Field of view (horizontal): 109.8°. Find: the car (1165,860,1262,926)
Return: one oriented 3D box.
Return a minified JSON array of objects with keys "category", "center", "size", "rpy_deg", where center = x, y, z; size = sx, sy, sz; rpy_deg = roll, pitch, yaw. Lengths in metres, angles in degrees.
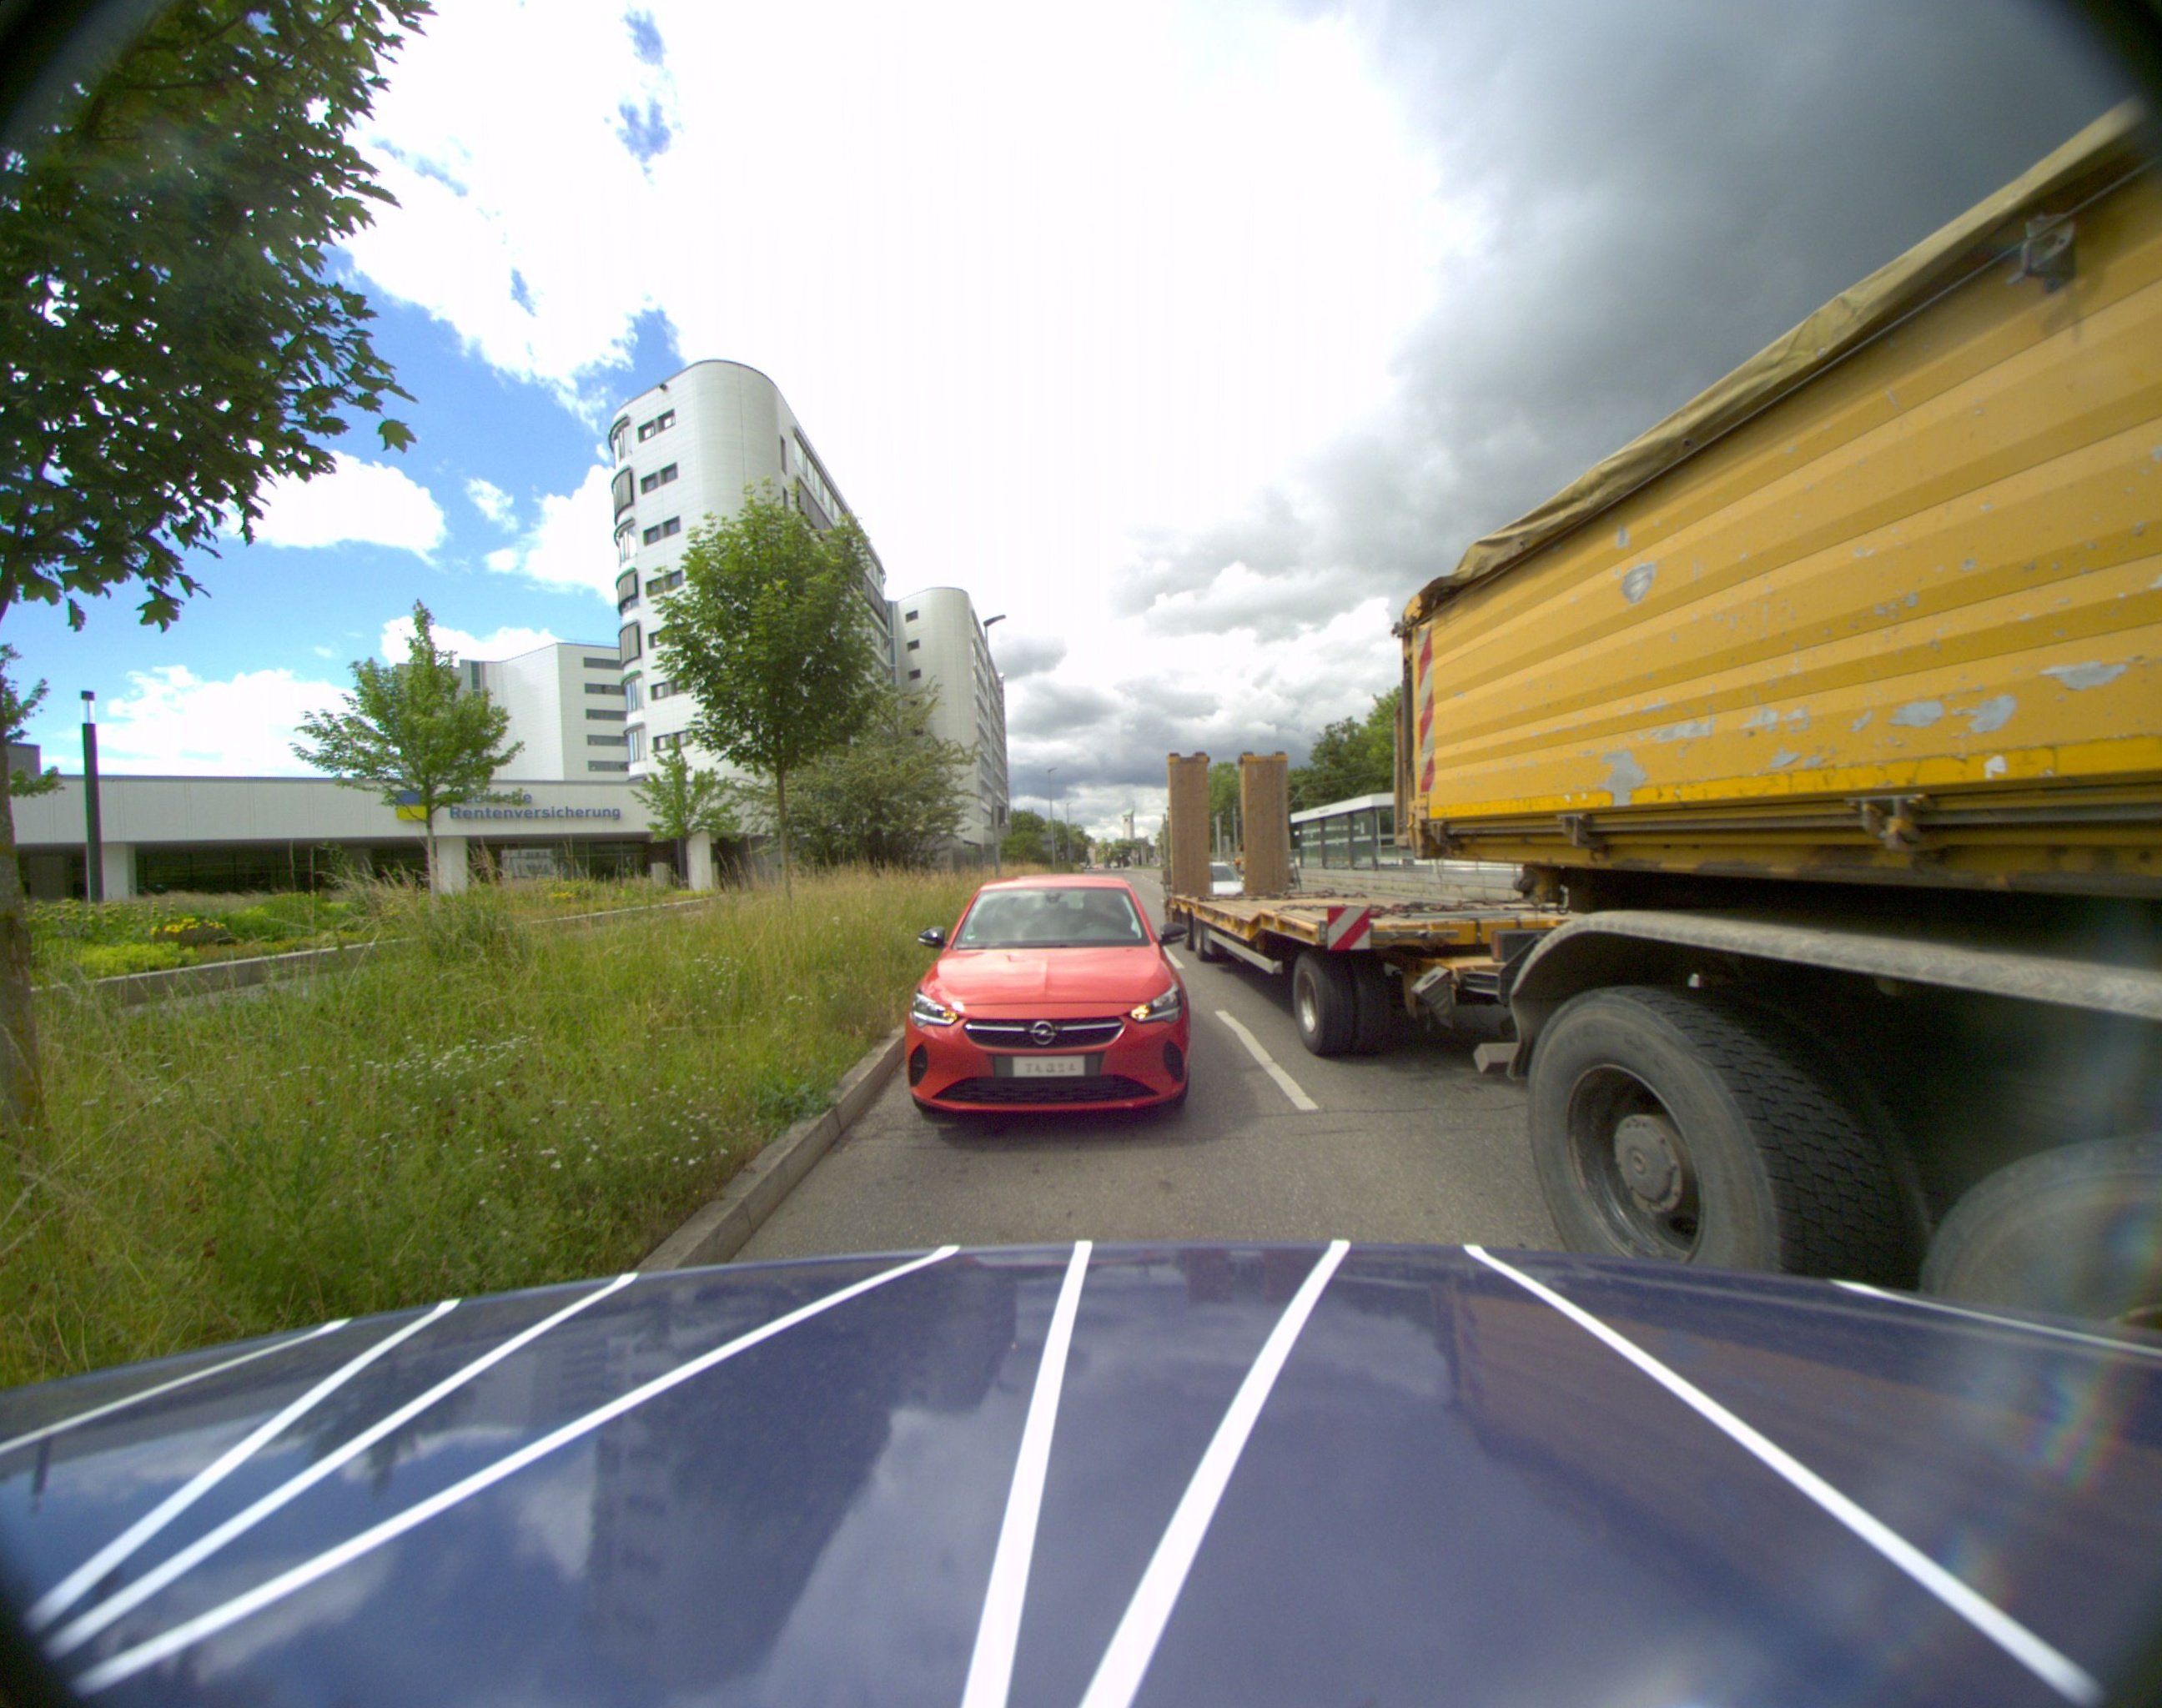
[{"category":"car","center":[3.190,0.887,19.010],"size":[1.784,1.408,3.785],"rpy_deg":[-2,0,1]}]

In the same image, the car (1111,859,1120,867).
[{"category":"car","center":[8.779,2.302,192.443],"size":[1.998,1.805,4.000],"rpy_deg":[-2,0,1]}]

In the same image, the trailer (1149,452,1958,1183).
[{"category":"trailer","center":[2.953,-0.162,9.413],"size":[3.057,3.676,10.965],"rpy_deg":[-2,0,0]}]

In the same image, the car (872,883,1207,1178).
[{"category":"car","center":[-0.187,1.001,5.844],"size":[1.749,1.408,3.676],"rpy_deg":[-1,0,1]}]

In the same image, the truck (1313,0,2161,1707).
[{"category":"truck","center":[2.861,-0.049,0.112],"size":[3.057,3.374,8.006],"rpy_deg":[-2,0,0]}]
